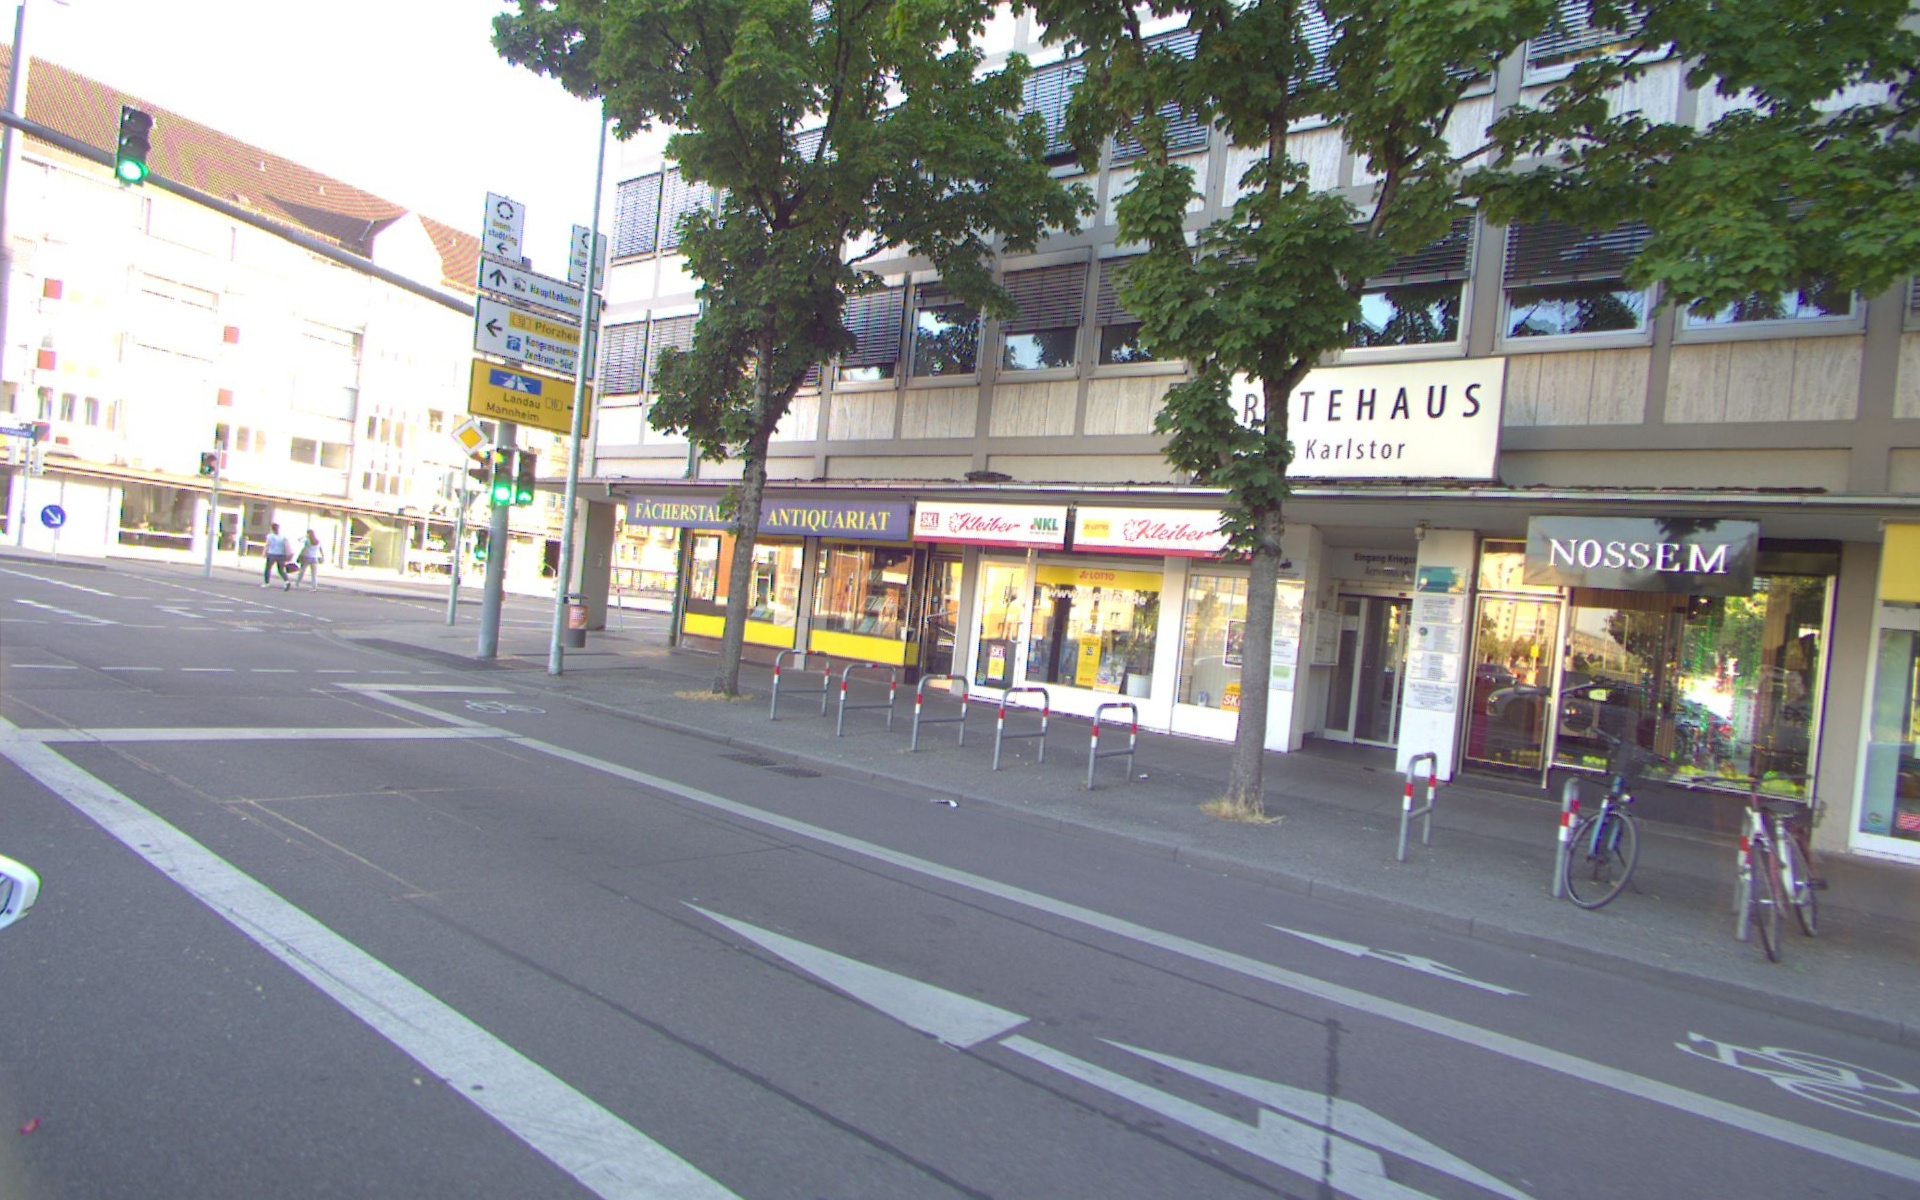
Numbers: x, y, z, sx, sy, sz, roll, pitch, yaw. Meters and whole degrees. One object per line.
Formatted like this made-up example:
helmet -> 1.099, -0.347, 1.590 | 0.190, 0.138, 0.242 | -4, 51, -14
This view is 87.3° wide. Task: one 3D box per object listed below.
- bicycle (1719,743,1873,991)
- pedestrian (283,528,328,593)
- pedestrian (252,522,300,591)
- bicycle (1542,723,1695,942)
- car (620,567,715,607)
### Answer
bicycle -> 5.252, 1.601, 6.399 | 0.530, 1.200, 1.631 | 6, 1, 36
pedestrian -> -17.215, -1.032, 26.490 | 0.695, 1.602, 0.822 | 5, 1, -19
pedestrian -> -17.373, -1.097, 25.562 | 0.716, 1.670, 0.768 | 5, 1, -19
bicycle -> 4.611, 1.554, 7.152 | 0.655, 1.155, 1.742 | 6, 1, 28
car -> -16.426, -0.694, 56.653 | 2.191, 1.573, 4.597 | 5, -3, 39
